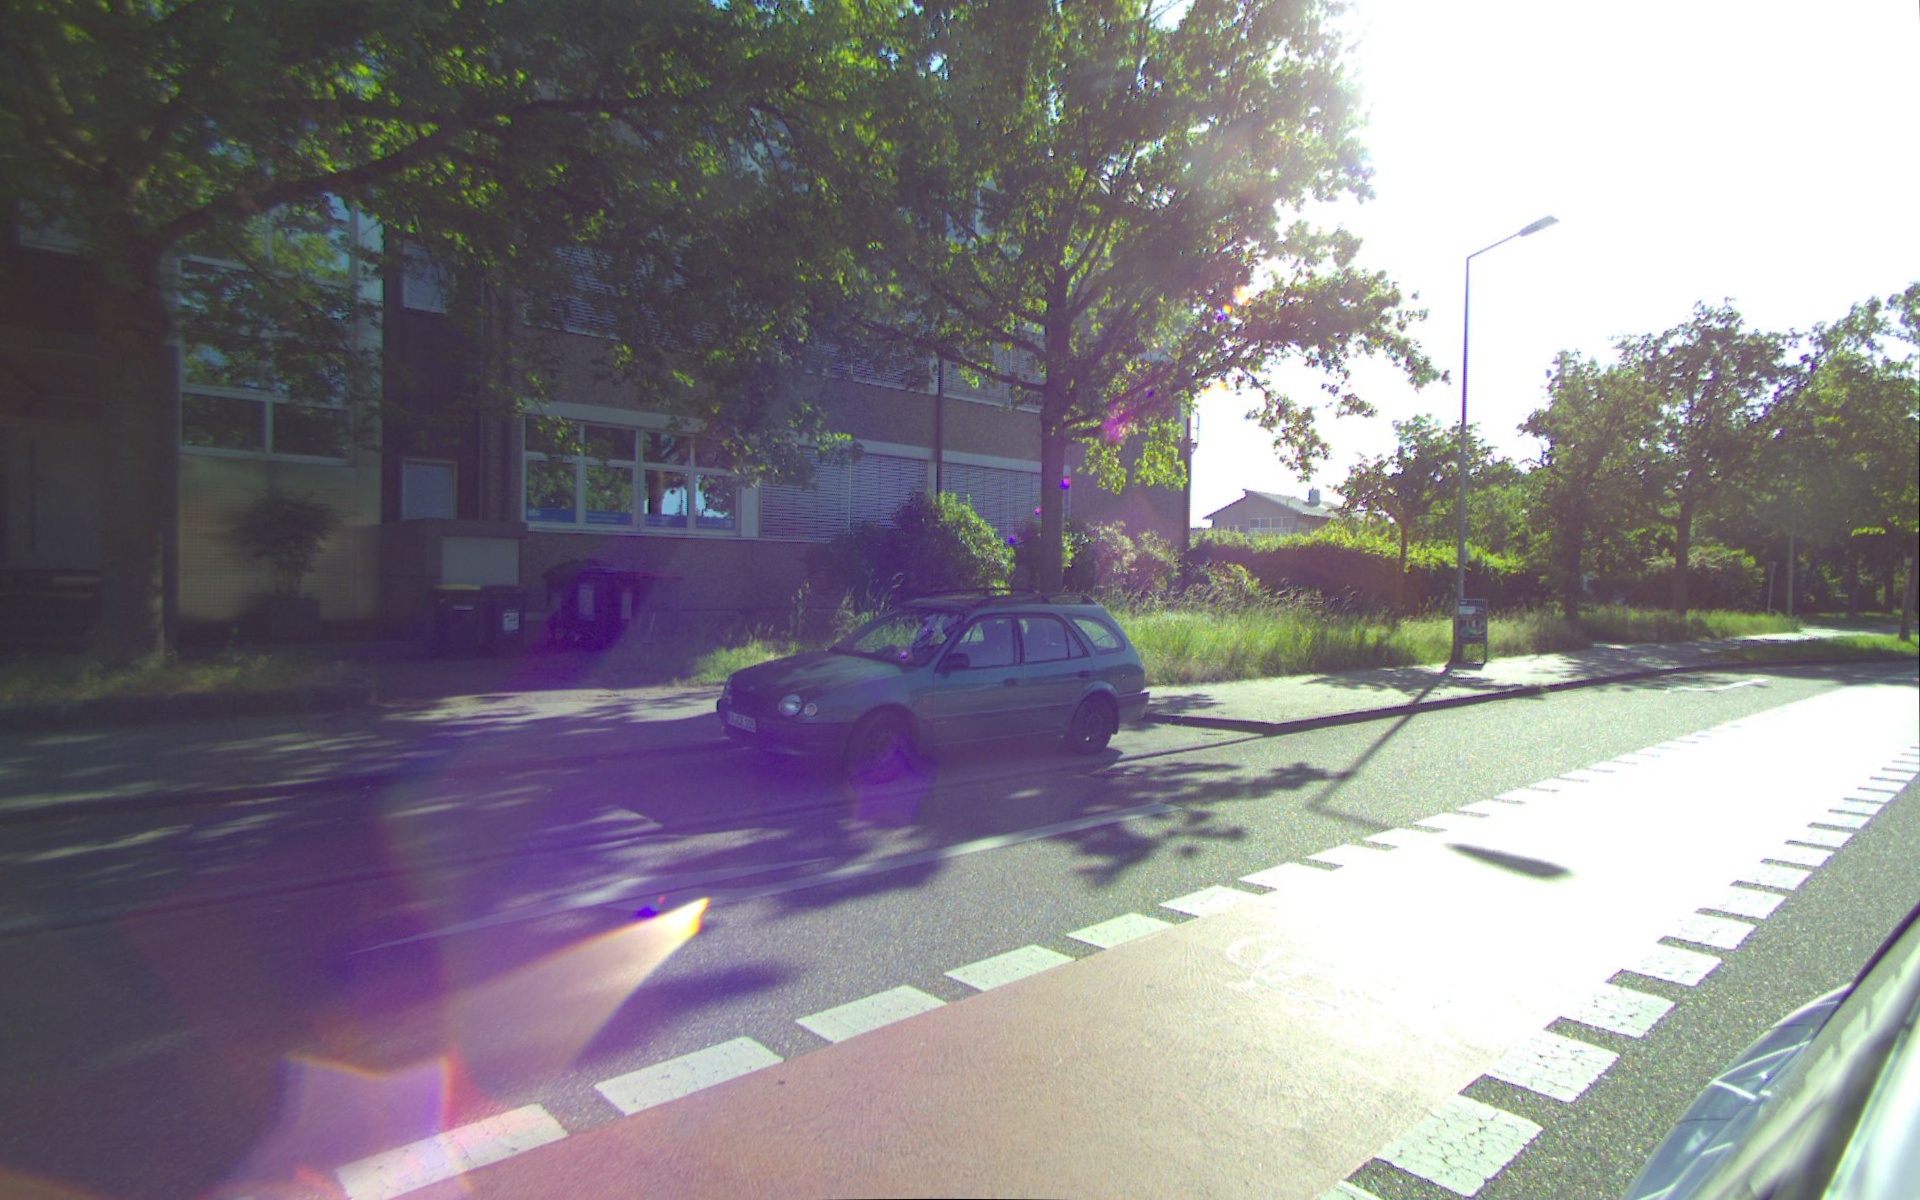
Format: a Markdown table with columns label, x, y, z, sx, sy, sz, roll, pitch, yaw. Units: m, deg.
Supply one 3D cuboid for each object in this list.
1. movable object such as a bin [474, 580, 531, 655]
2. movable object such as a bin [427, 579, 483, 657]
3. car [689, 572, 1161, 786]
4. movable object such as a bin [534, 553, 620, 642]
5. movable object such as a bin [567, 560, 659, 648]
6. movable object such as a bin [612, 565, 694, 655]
| label | x | y | z | sx | sy | sz | roll | pitch | yaw |
| --- | --- | --- | --- | --- | --- | --- | --- | --- | --- |
| movable object such as a bin | -6.770 | 0.241 | 14.968 | 0.604 | 1.075 | 0.634 | 0 | 1 | -42 |
| movable object such as a bin | -7.226 | 0.246 | 14.487 | 0.575 | 1.070 | 0.625 | 0 | 1 | -42 |
| car | -0.157 | 0.574 | 9.122 | 4.068 | 1.487 | 1.705 | 1 | 1 | -41 |
| movable object such as a bin | -6.792 | -0.073 | 17.931 | 1.024 | 1.501 | 1.309 | 0 | 2 | -41 |
| movable object such as a bin | -5.783 | 0.043 | 16.851 | 1.070 | 1.388 | 1.186 | 0 | 2 | -43 |
| movable object such as a bin | -4.793 | 0.126 | 15.763 | 0.878 | 1.323 | 1.186 | 0 | 2 | -37 |
